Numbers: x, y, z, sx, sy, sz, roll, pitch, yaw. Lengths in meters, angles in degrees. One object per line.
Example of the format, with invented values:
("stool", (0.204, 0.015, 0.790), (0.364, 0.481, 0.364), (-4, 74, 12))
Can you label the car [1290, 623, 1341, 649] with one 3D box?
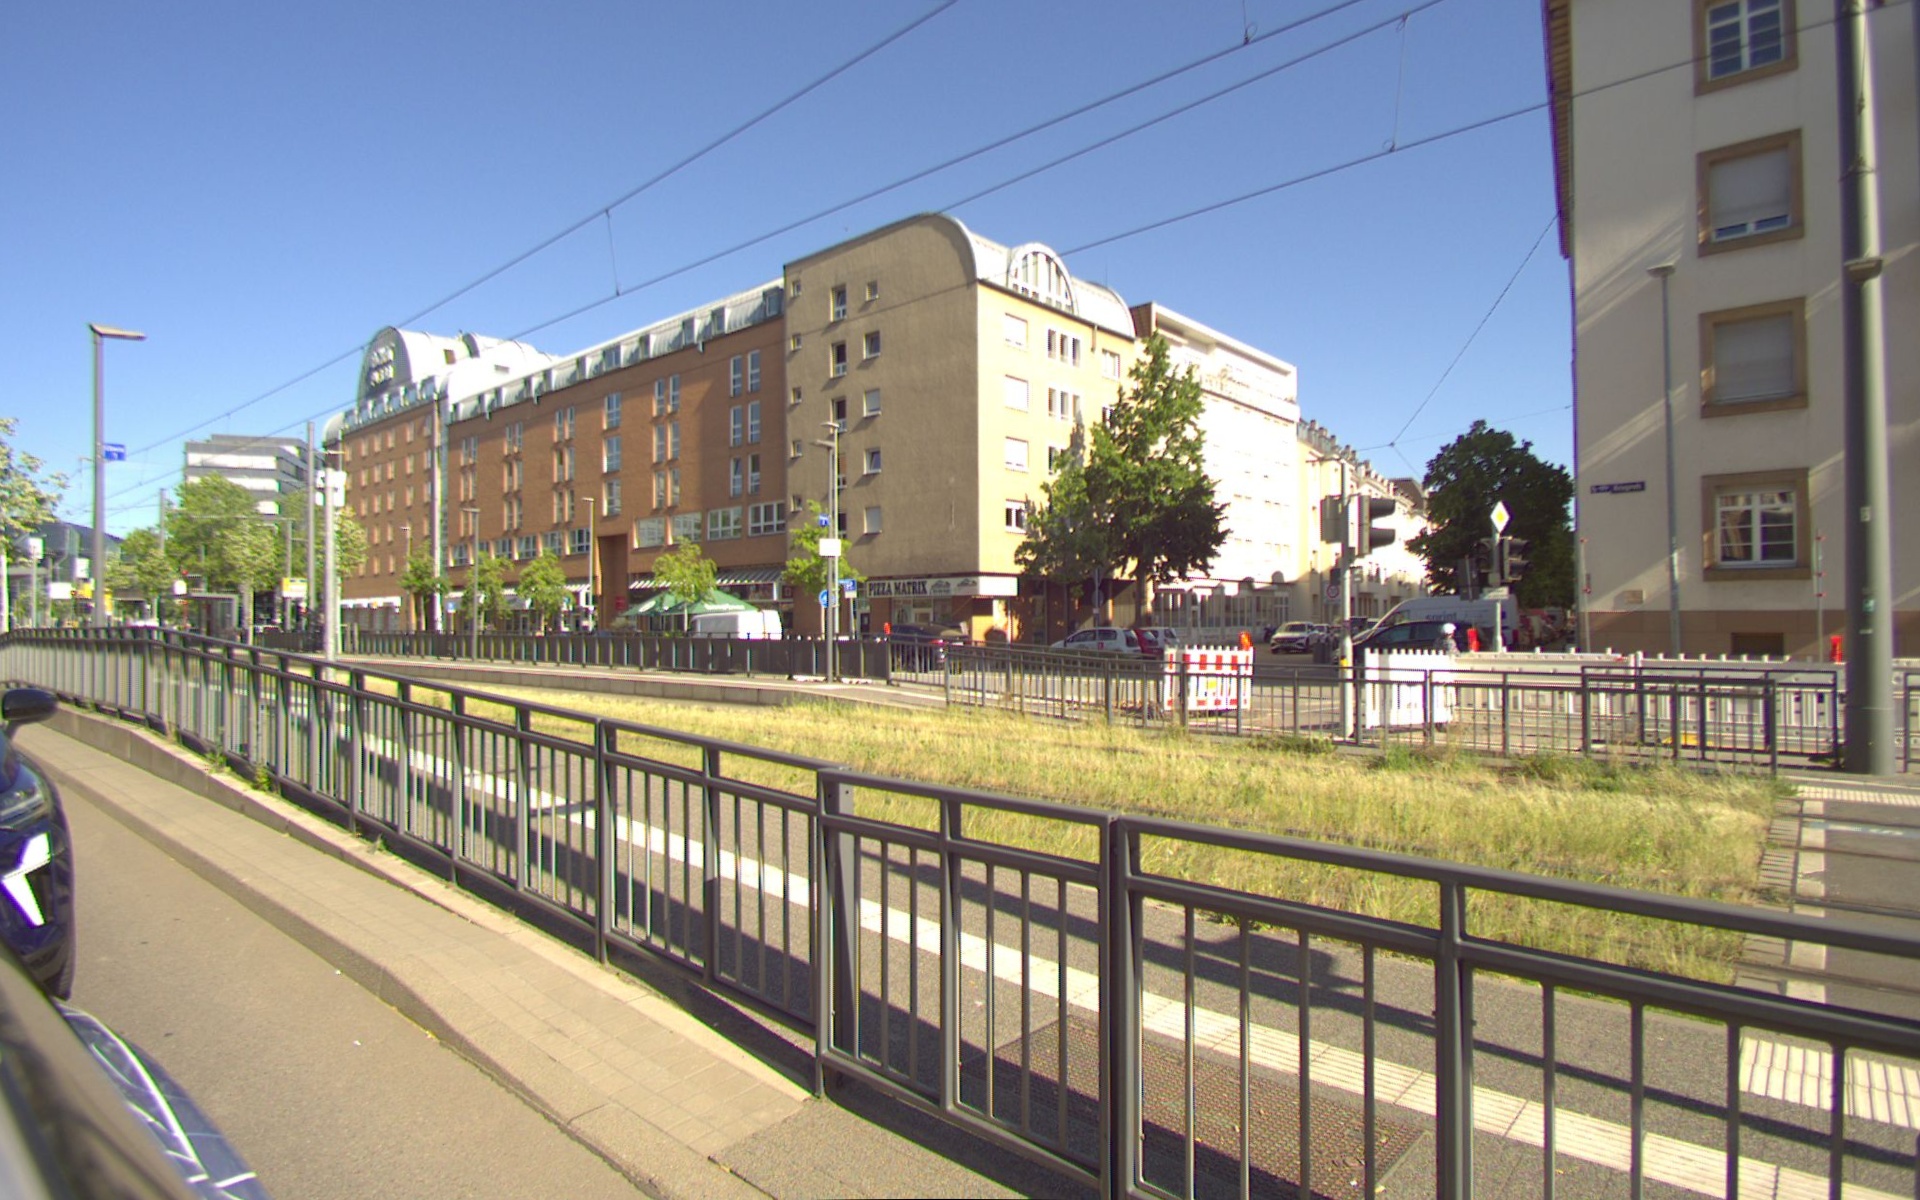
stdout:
("car", (20.508, 2.076, 58.291), (1.993, 1.457, 4.141), (-1, -2, 31))

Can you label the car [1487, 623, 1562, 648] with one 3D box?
("car", (35.110, 2.168, 62.987), (3.986, 1.440, 1.760), (-1, 0, 32))

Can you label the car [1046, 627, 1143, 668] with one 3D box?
("car", (5.086, 1.772, 38.353), (3.334, 1.438, 1.424), (-1, 0, 29))

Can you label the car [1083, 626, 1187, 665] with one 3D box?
("car", (7.326, 1.865, 42.596), (3.997, 1.497, 1.693), (-1, 0, 40))

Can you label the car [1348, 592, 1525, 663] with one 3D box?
("car", (17.639, 0.967, 37.582), (5.737, 2.473, 1.979), (-1, 0, 32))

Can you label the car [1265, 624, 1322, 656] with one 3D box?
("car", (17.728, 2.092, 53.710), (1.993, 1.630, 4.141), (-1, -2, 31))

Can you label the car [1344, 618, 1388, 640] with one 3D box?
("car", (28.271, 2.025, 70.436), (1.995, 1.473, 4.137), (-1, -2, 34))

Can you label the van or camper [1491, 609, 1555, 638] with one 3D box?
("van or camper", (44.912, 1.889, 80.732), (4.332, 2.231, 1.931), (-1, 0, 32))

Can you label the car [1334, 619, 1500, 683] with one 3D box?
("car", (12.965, 1.392, 28.818), (3.994, 1.652, 1.846), (-1, 0, 37))

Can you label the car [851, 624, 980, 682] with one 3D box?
("car", (-1.442, 1.617, 31.982), (3.996, 1.652, 1.677), (-1, 0, 39))

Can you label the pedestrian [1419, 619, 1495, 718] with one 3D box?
("pedestrian", (7.893, 1.064, 16.098), (0.792, 1.515, 0.713), (0, -2, -22))

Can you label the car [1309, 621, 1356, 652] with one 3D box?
("car", (22.790, 2.212, 61.819), (1.839, 1.730, 4.033), (-1, 0, 34))

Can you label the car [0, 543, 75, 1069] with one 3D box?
("car", (-5.049, 0.700, 3.997), (4.418, 1.597, 1.736), (-2, 1, 41))

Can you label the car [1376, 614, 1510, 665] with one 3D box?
("car", (16.819, 1.338, 35.271), (3.989, 1.652, 1.848), (-1, 0, 33))

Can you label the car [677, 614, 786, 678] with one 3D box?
("car", (-9.095, 1.745, 40.006), (1.969, 2.314, 5.197), (-1, 0, -41))

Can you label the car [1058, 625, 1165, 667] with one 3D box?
("car", (6.017, 1.785, 40.377), (3.955, 1.564, 1.457), (-1, 0, 33))

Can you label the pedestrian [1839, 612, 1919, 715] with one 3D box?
("pedestrian", (14.313, 0.952, 15.675), (1.020, 1.529, 0.778), (-1, 0, 41))

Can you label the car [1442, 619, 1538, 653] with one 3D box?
("car", (25.743, 1.716, 49.192), (3.988, 1.567, 1.848), (-1, 0, 33))

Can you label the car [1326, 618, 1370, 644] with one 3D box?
("car", (25.285, 1.996, 65.867), (1.993, 1.630, 4.141), (-1, -2, 31))

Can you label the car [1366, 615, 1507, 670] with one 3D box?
("car", (15.693, 1.354, 33.383), (3.989, 1.652, 1.848), (-1, 0, 33))
